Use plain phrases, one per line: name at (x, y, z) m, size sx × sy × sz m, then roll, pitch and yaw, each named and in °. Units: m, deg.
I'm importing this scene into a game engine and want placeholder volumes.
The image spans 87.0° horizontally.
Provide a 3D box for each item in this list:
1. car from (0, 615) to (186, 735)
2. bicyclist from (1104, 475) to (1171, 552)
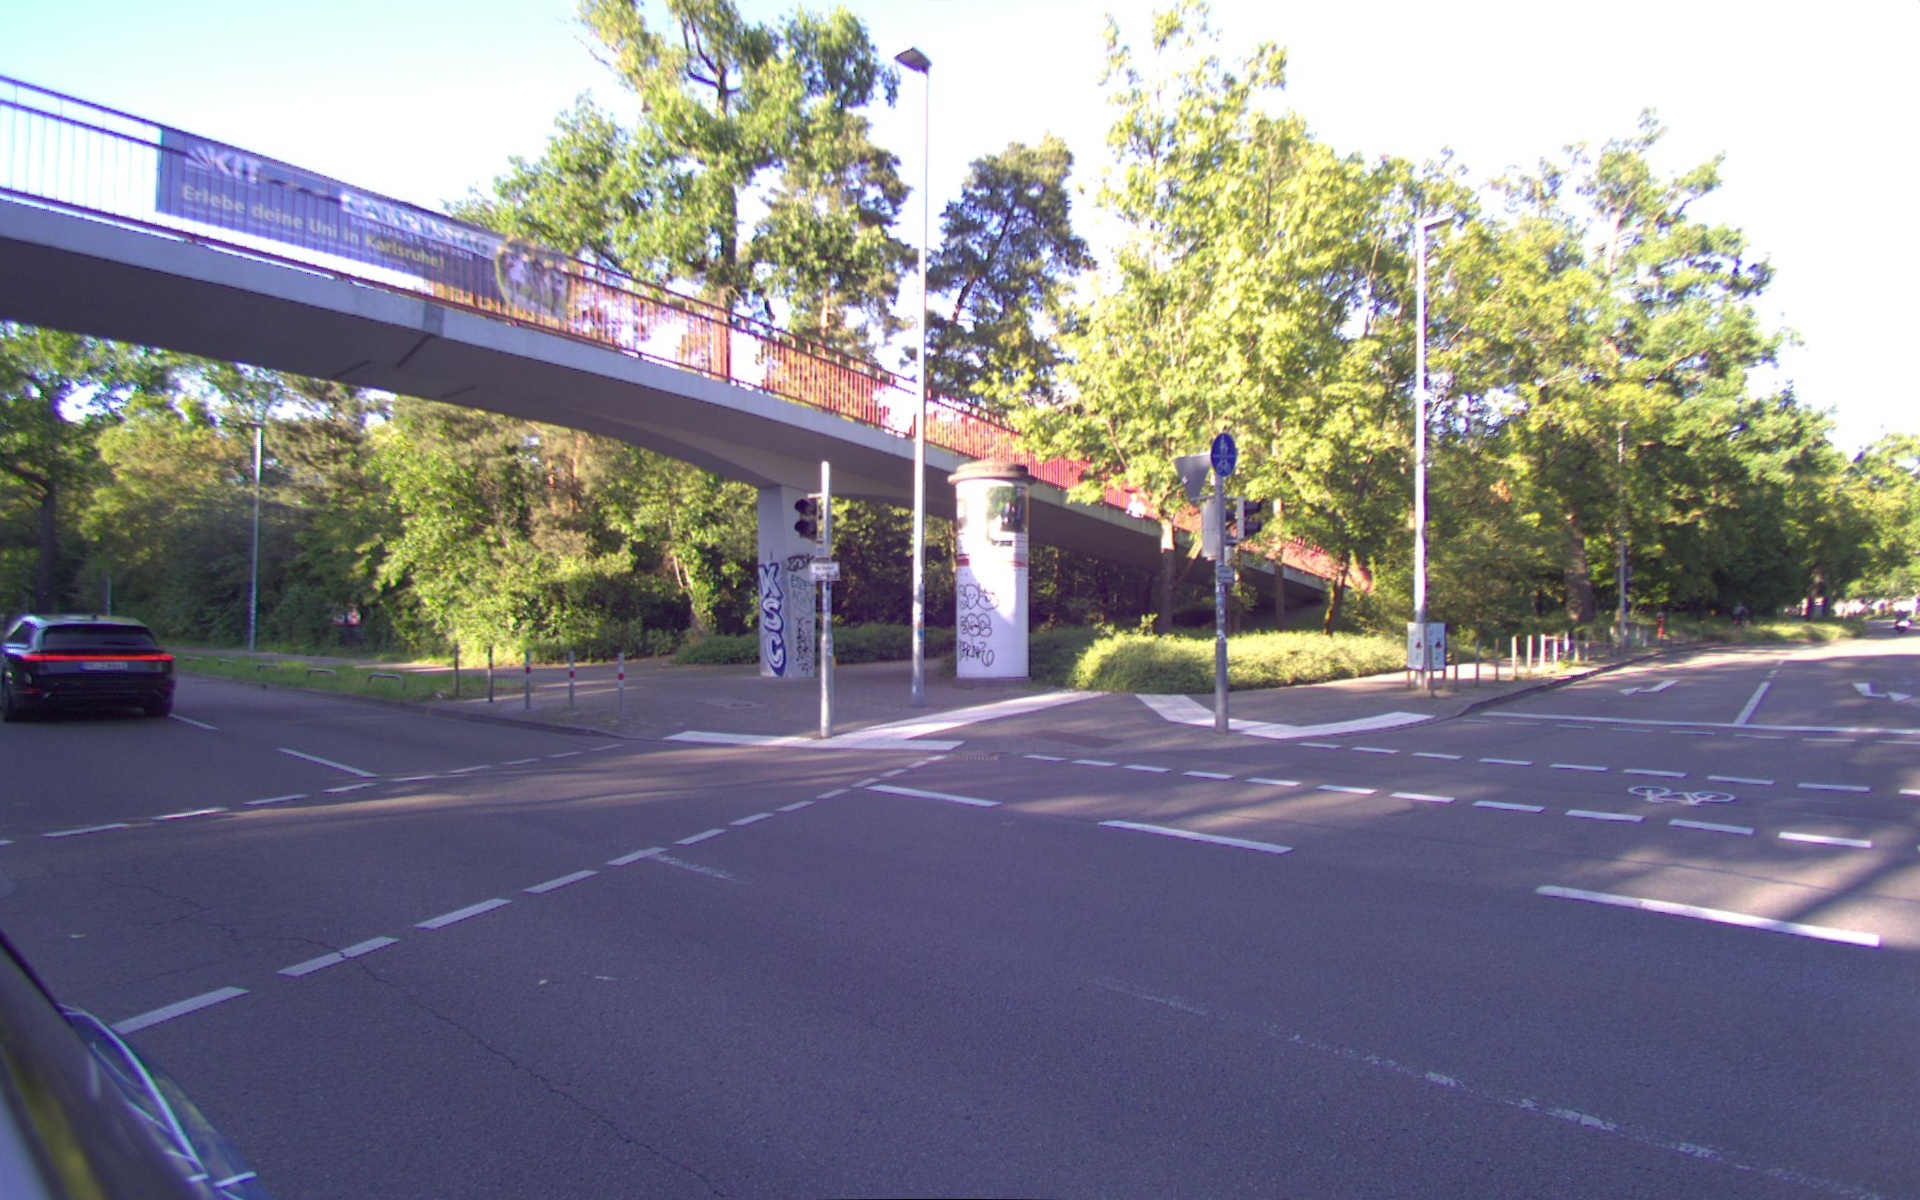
car at (-13.501, 1.006, 15.335) m, size 4.645 × 1.517 × 1.940 m, roll 0°, pitch -1°, yaw 41°
bicyclist at (5.746, -2.758, 32.738) m, size 1.412 × 2.185 × 1.660 m, roll -1°, pitch -5°, yaw 43°
